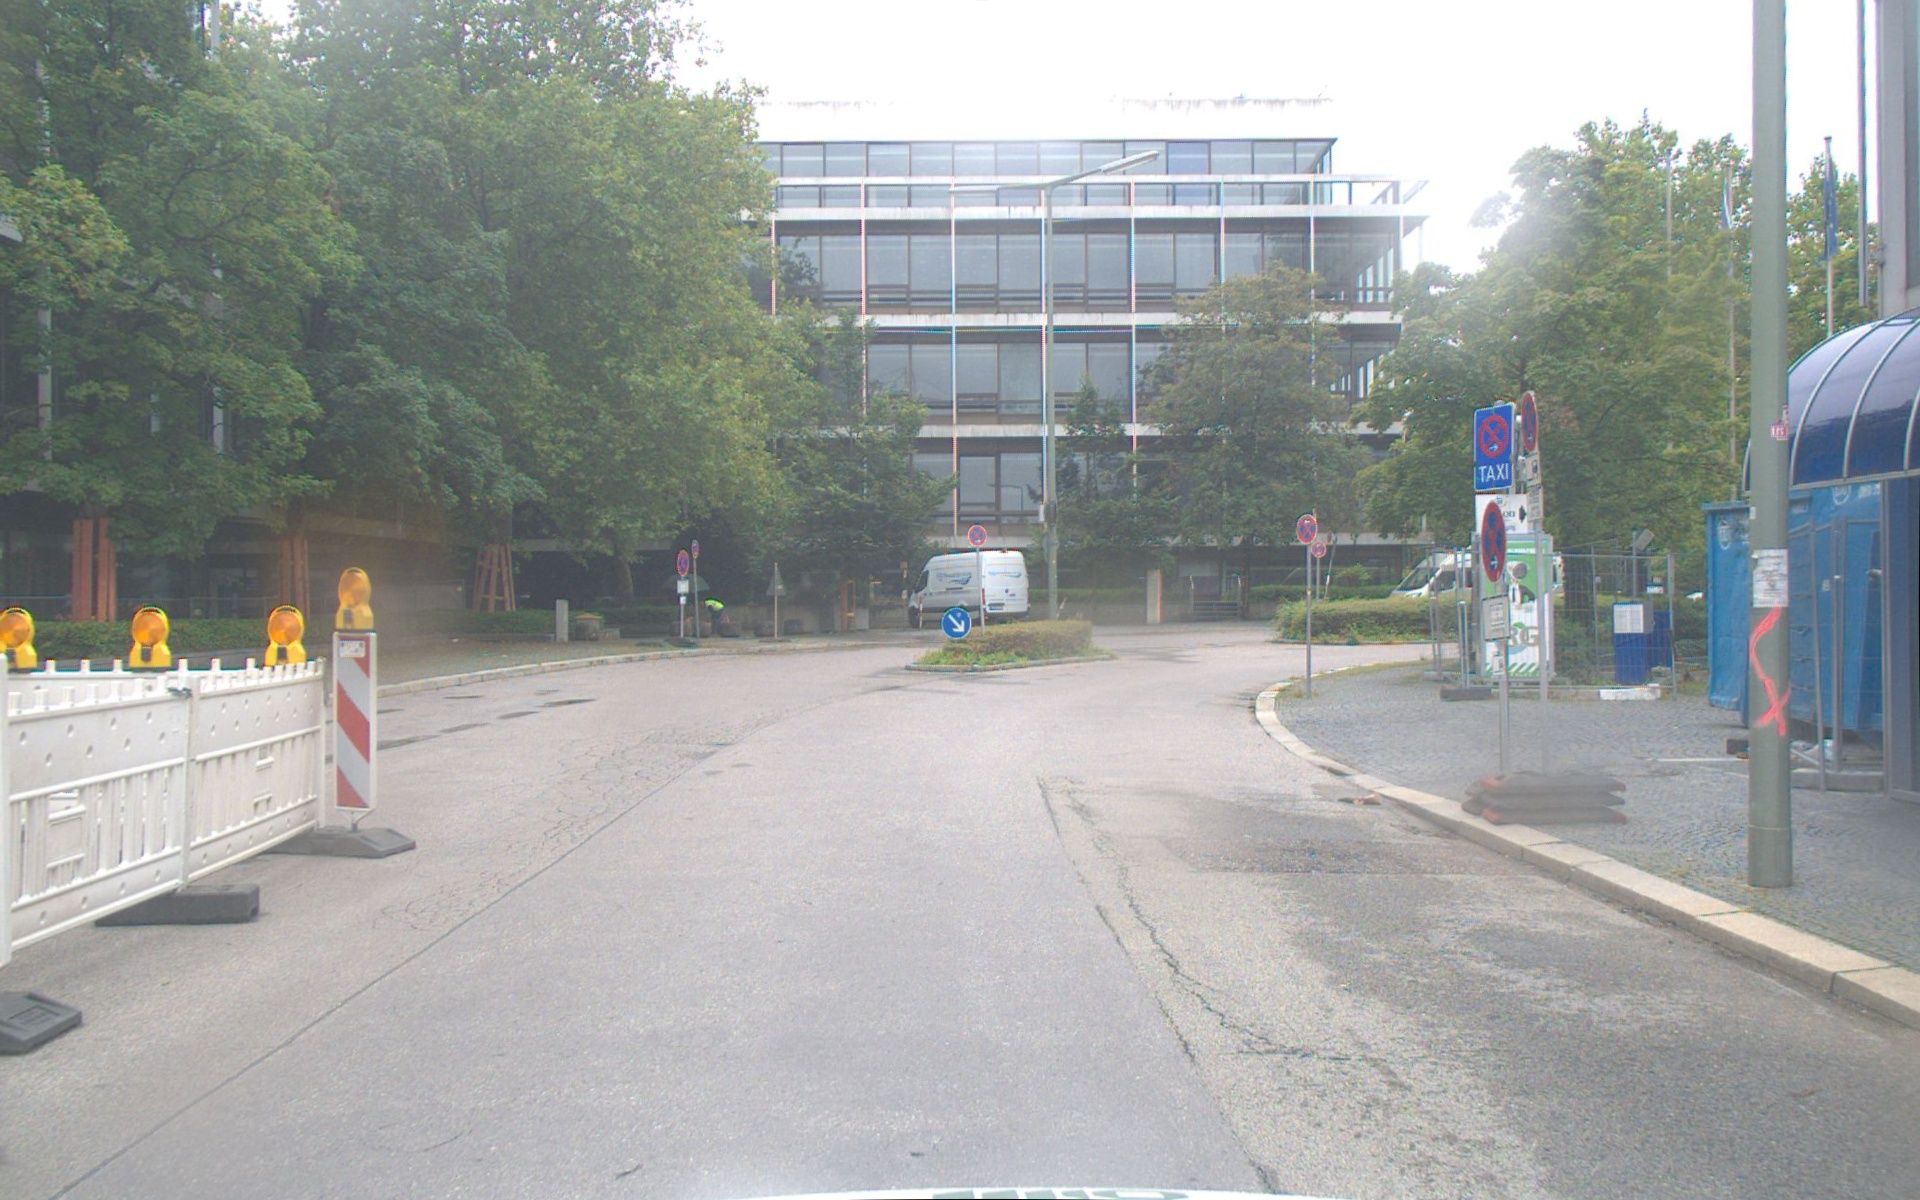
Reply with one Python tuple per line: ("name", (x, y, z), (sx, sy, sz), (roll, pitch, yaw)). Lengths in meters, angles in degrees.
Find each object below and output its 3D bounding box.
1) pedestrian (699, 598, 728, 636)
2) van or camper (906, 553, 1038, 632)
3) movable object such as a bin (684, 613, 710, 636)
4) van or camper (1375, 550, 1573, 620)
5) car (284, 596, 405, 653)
("pedestrian", (-8.546, 0.594, 57.300), (0.907, 1.300, 0.542), (0, 0, 1))
("van or camper", (0.342, -0.197, 59.564), (2.129, 2.626, 6.484), (0, -2, -26))
("movable object such as a bin", (-9.101, 0.847, 57.256), (0.817, 0.766, 0.572), (0, 0, 2))
("van or camper", (17.649, -0.508, 56.808), (6.290, 2.321, 2.246), (0, 0, -15))
("car", (-17.070, 0.656, 46.050), (1.867, 1.499, 3.861), (0, 0, 1))
